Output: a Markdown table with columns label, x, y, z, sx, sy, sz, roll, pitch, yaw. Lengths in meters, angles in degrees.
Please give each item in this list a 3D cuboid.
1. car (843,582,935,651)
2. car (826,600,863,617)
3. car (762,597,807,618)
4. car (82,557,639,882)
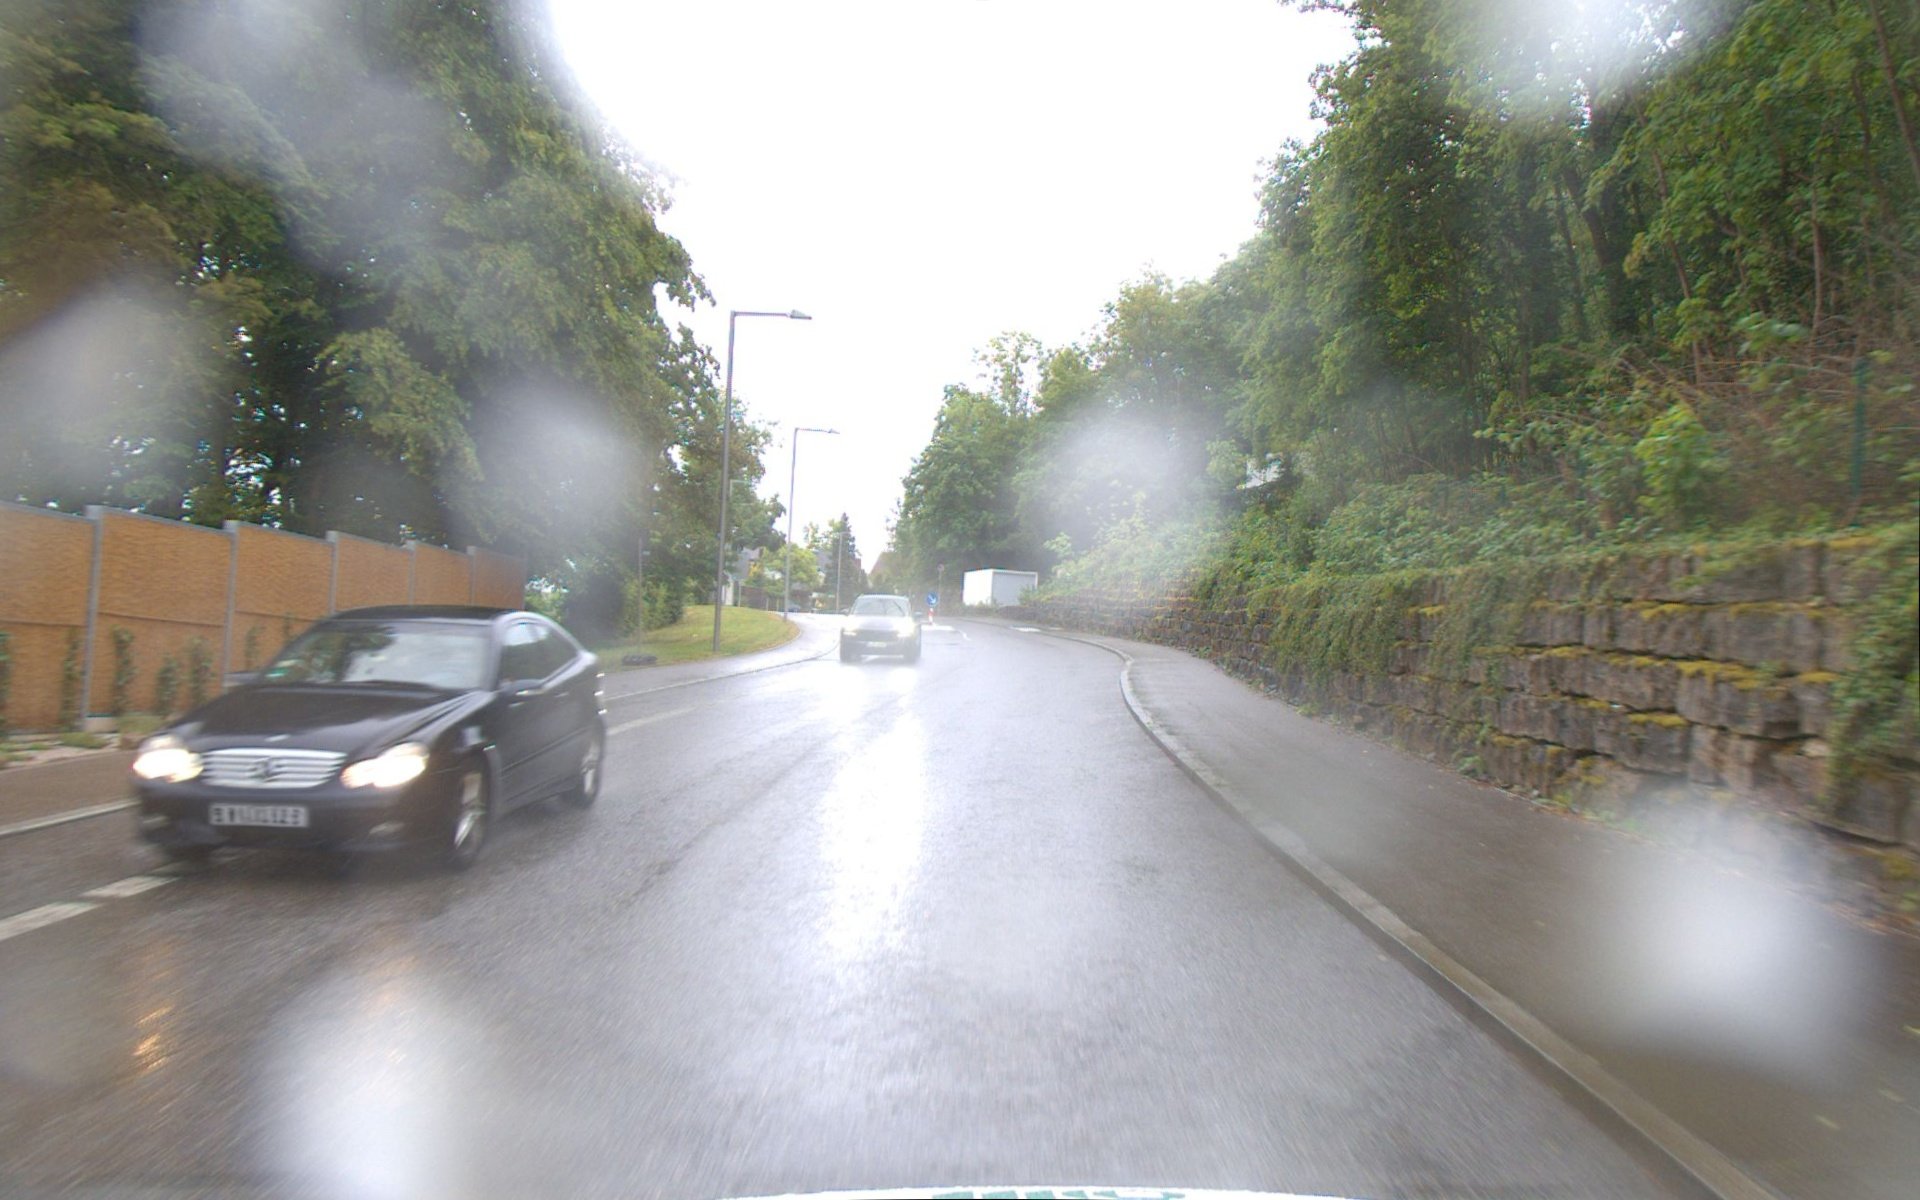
| label | x | y | z | sx | sy | sz | roll | pitch | yaw |
| --- | --- | --- | --- | --- | --- | --- | --- | --- | --- |
| car | -1.791 | 0.422 | 43.307 | 1.878 | 1.676 | 4.548 | 1 | 0 | 4 |
| car | -11.508 | 0.869 | 164.908 | 1.917 | 1.413 | 3.954 | 7 | -2 | -34 |
| car | -16.561 | 0.700 | 156.130 | 3.931 | 1.660 | 2.001 | 4 | -2 | 43 |
| car | -3.382 | 0.600 | 10.298 | 1.796 | 1.538 | 4.170 | 2 | 0 | 1 |
